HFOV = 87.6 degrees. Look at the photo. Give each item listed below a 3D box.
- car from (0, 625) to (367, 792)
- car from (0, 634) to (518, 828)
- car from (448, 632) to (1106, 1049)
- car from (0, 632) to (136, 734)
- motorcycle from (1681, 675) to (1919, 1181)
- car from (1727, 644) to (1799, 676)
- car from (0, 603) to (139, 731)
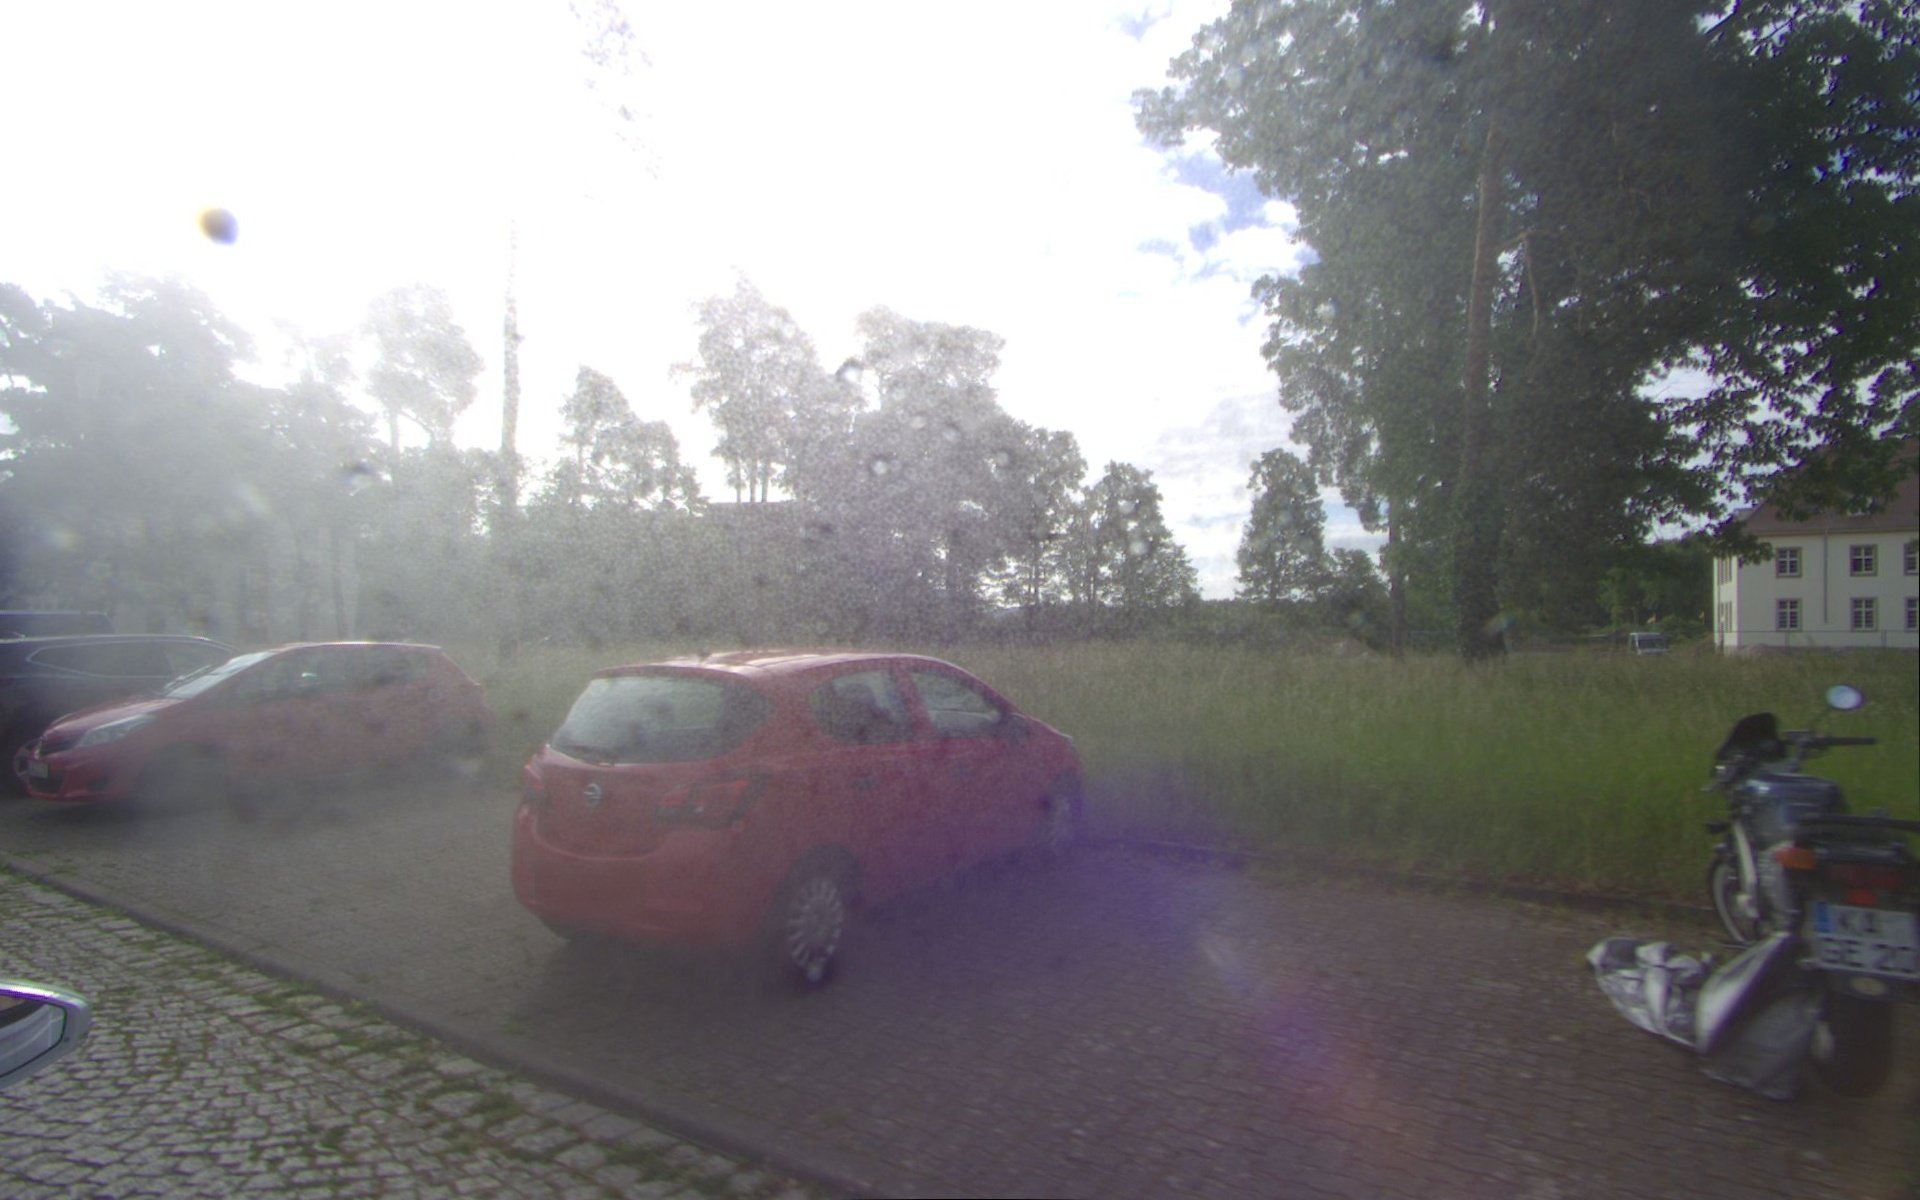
[{"bbox_3d":[-9.189,1.106,11.298,1.736,1.600,3.946,0,-2,31],"label":"car"},{"bbox_3d":[-6.813,1.132,10.168,1.713,1.538,3.980,0,-2,32],"label":"car"},{"bbox_3d":[-0.686,0.975,5.882,1.713,1.525,3.833,0,-1,31],"label":"car"},{"bbox_3d":[-14.598,1.214,14.574,1.630,1.442,3.718,0,-1,30],"label":"car"},{"bbox_3d":[3.242,0.975,3.706,0.596,1.291,2.264,0,-1,27],"label":"motorcycle"},{"bbox_3d":[54.710,4.108,68.362,2.446,2.038,5.822,-1,-4,25],"label":"car"},{"bbox_3d":[-16.496,1.064,16.108,1.712,2.066,4.777,0,-2,30],"label":"car"}]
